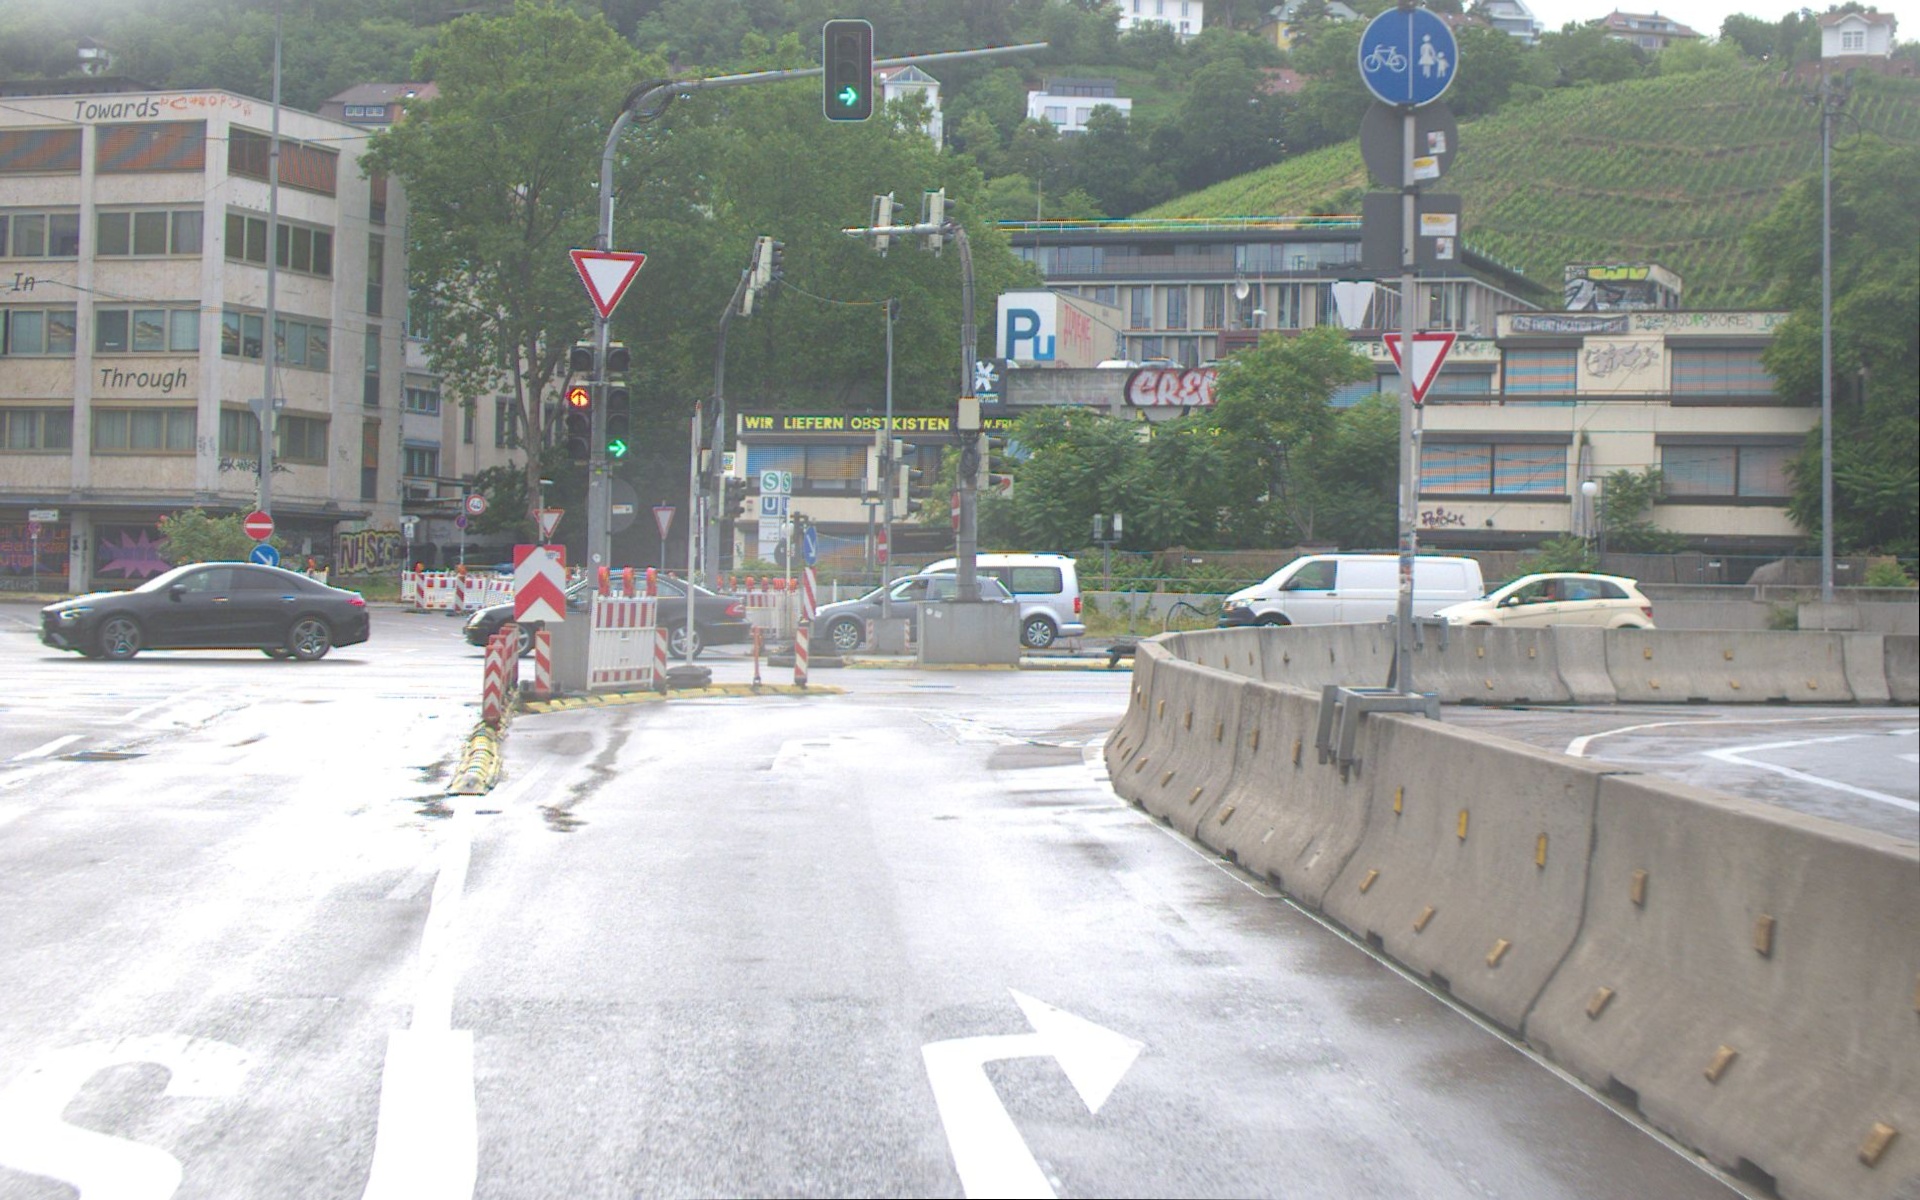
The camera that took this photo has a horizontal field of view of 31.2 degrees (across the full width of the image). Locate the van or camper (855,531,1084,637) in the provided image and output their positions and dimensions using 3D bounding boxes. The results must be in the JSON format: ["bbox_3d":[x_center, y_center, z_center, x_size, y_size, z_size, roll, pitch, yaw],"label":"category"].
[{"bbox_3d":[0.169,-0.317,67.224,4.241,1.972,1.852,1,1,-7],"label":"van or camper"}]

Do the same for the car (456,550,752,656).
[{"bbox_3d":[-5.772,0.038,55.695,4.647,1.593,2.019,1,1,-7],"label":"car"}]

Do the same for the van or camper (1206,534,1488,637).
[{"bbox_3d":[7.596,-0.295,67.732,5.194,1.887,1.888,1,1,-7],"label":"van or camper"}]

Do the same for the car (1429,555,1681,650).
[{"bbox_3d":[11.191,0.029,64.869,4.365,1.668,1.848,1,1,-2],"label":"car"}]

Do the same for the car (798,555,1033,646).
[{"bbox_3d":[-0.851,0.000,64.020,4.166,1.593,1.852,1,1,-7],"label":"car"}]

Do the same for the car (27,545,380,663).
[{"bbox_3d":[-10.916,0.061,49.583,4.647,1.593,2.019,1,1,-23],"label":"car"}]
